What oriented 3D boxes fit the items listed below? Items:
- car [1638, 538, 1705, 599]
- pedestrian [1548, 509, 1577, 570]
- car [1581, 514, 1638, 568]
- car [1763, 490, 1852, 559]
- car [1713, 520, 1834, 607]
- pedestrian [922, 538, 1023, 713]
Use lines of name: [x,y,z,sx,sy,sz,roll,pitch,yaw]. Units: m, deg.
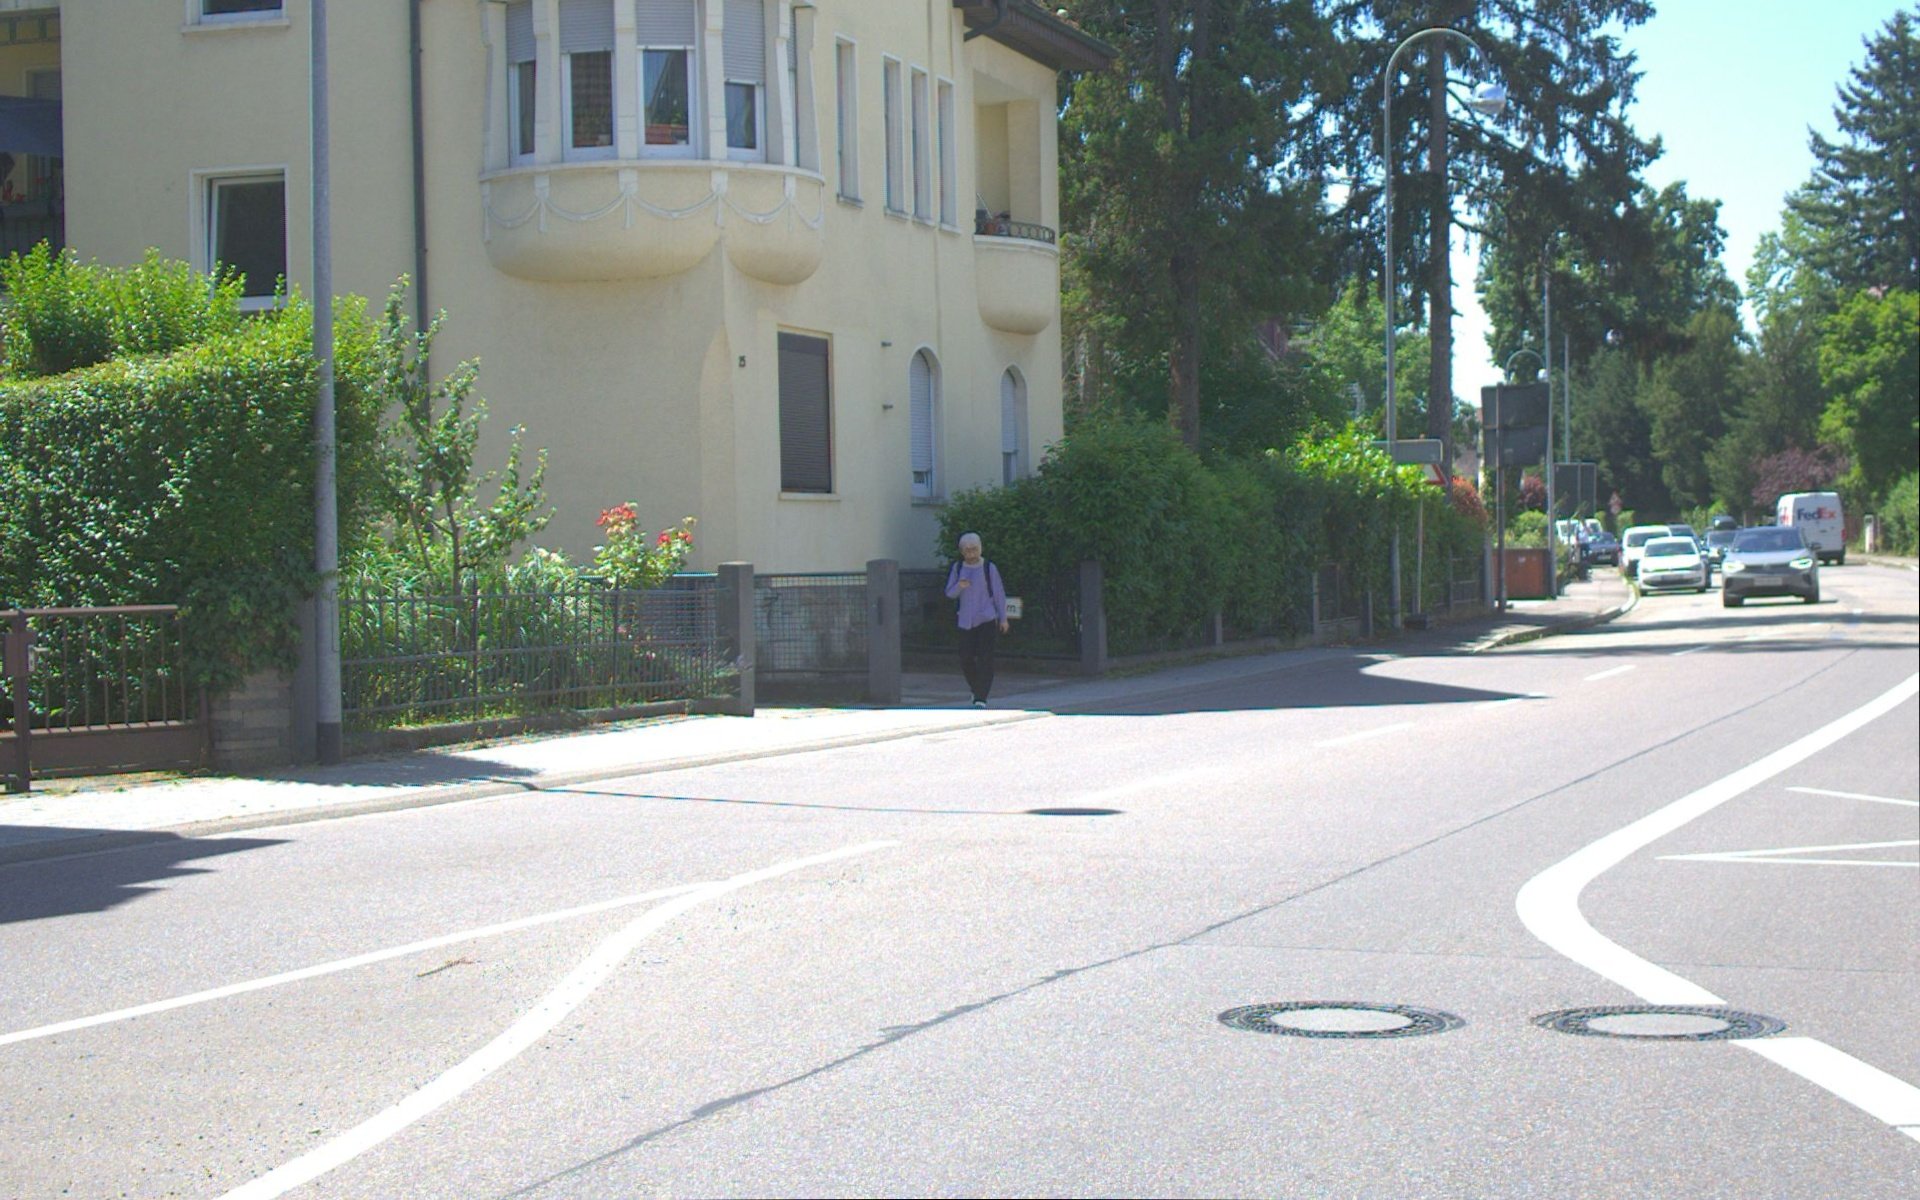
car: [18.269,-0.816,88.407,1.579,1.418,3.939,-3,1,11]
pedestrian: [19.342,-1.940,110.361,0.690,1.883,1.018,4,1,15]
car: [22.223,-2.027,117.750,1.723,1.730,3.886,-3,1,9]
car: [30.112,-2.691,122.328,2.143,2.307,4.852,-3,1,3]
car: [16.662,-0.768,70.303,1.855,1.611,4.293,-3,0,20]
pedestrian: [0.120,0.225,31.786,0.613,1.559,0.823,5,2,17]
